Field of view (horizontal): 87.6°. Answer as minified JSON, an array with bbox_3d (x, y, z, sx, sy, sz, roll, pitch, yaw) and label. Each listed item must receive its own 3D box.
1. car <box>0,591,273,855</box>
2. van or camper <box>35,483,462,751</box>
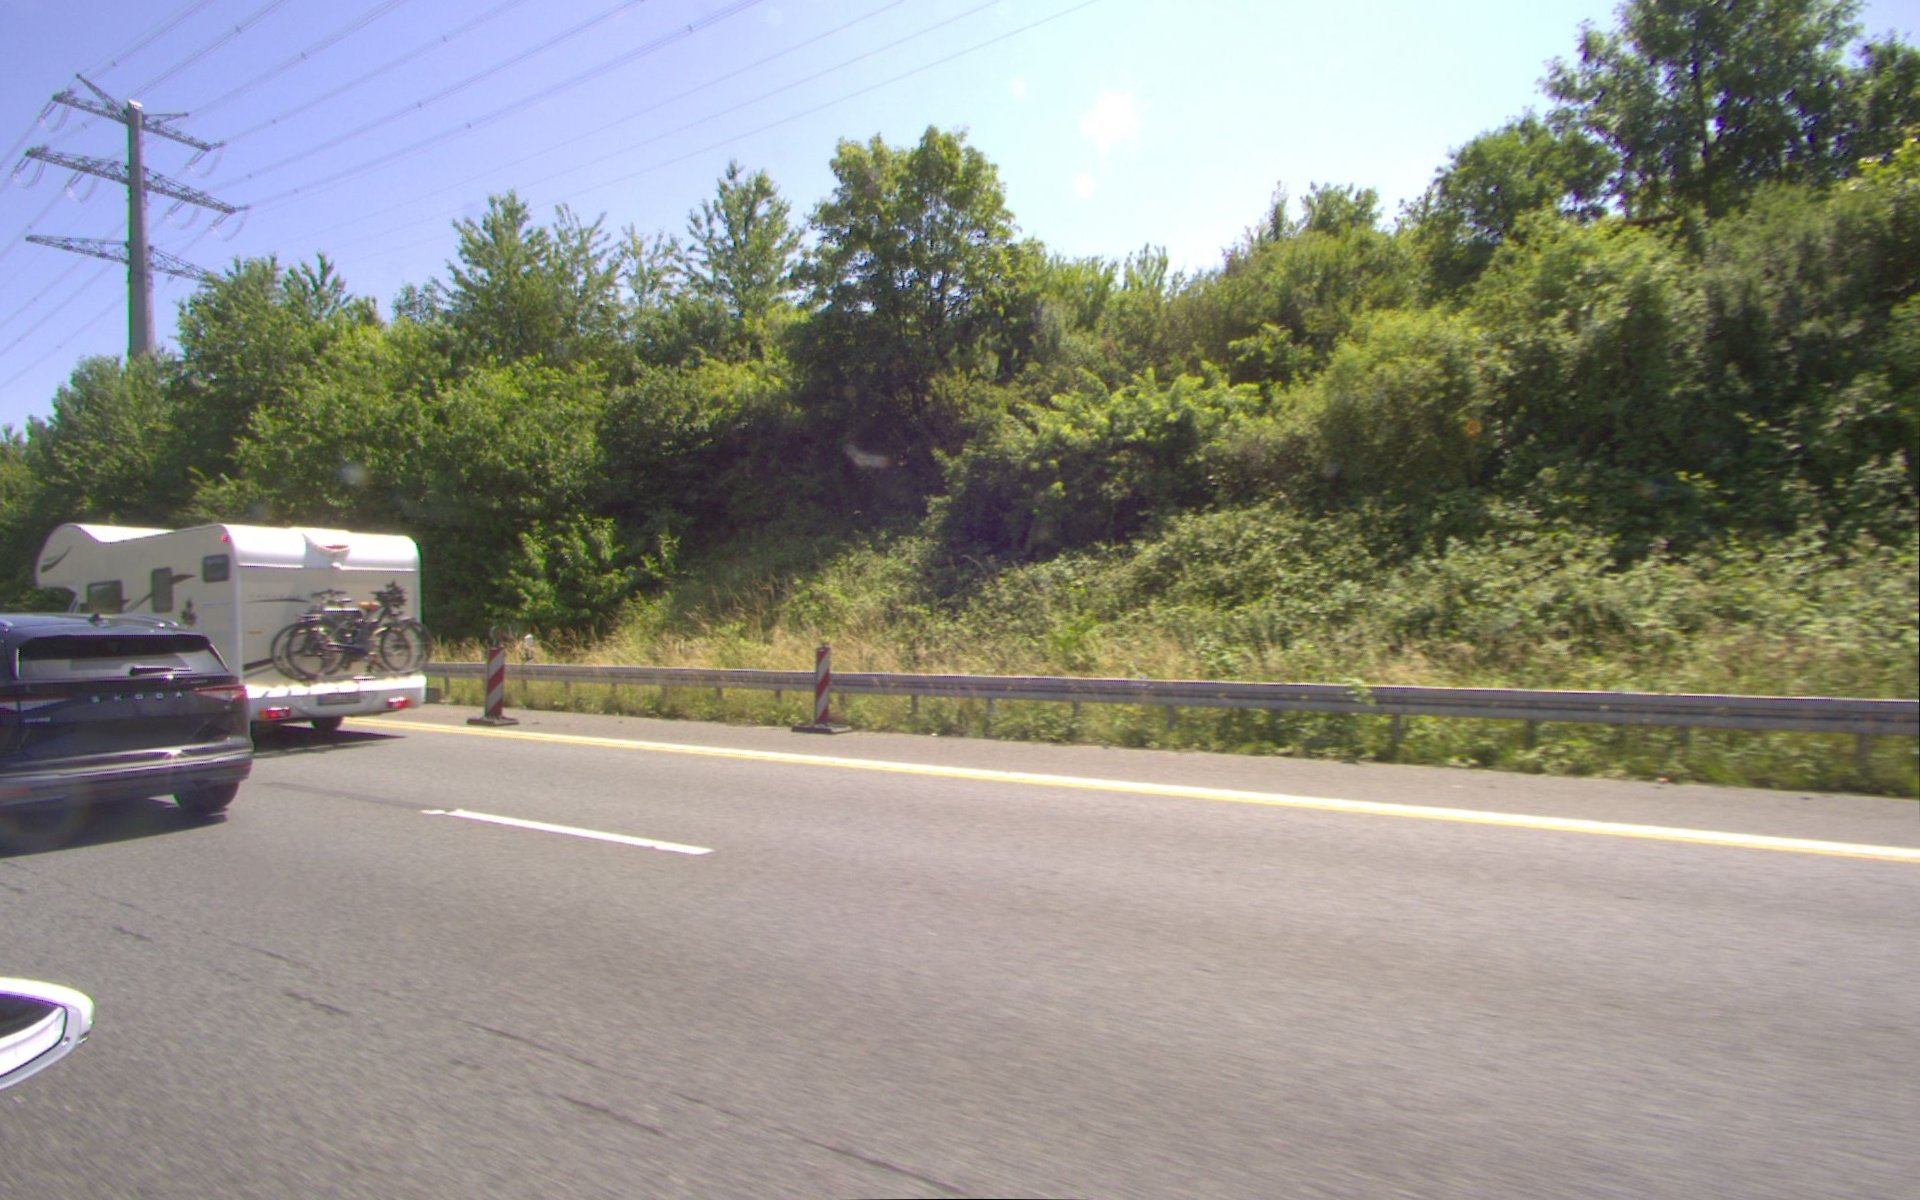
[{"bbox_3d":[-7.618,0.851,8.136,4.365,1.676,1.699,-1,-2,31],"label":"car"},{"bbox_3d":[-10.520,0.306,14.518,7.524,3.082,2.365,-1,-2,32],"label":"van or camper"}]
